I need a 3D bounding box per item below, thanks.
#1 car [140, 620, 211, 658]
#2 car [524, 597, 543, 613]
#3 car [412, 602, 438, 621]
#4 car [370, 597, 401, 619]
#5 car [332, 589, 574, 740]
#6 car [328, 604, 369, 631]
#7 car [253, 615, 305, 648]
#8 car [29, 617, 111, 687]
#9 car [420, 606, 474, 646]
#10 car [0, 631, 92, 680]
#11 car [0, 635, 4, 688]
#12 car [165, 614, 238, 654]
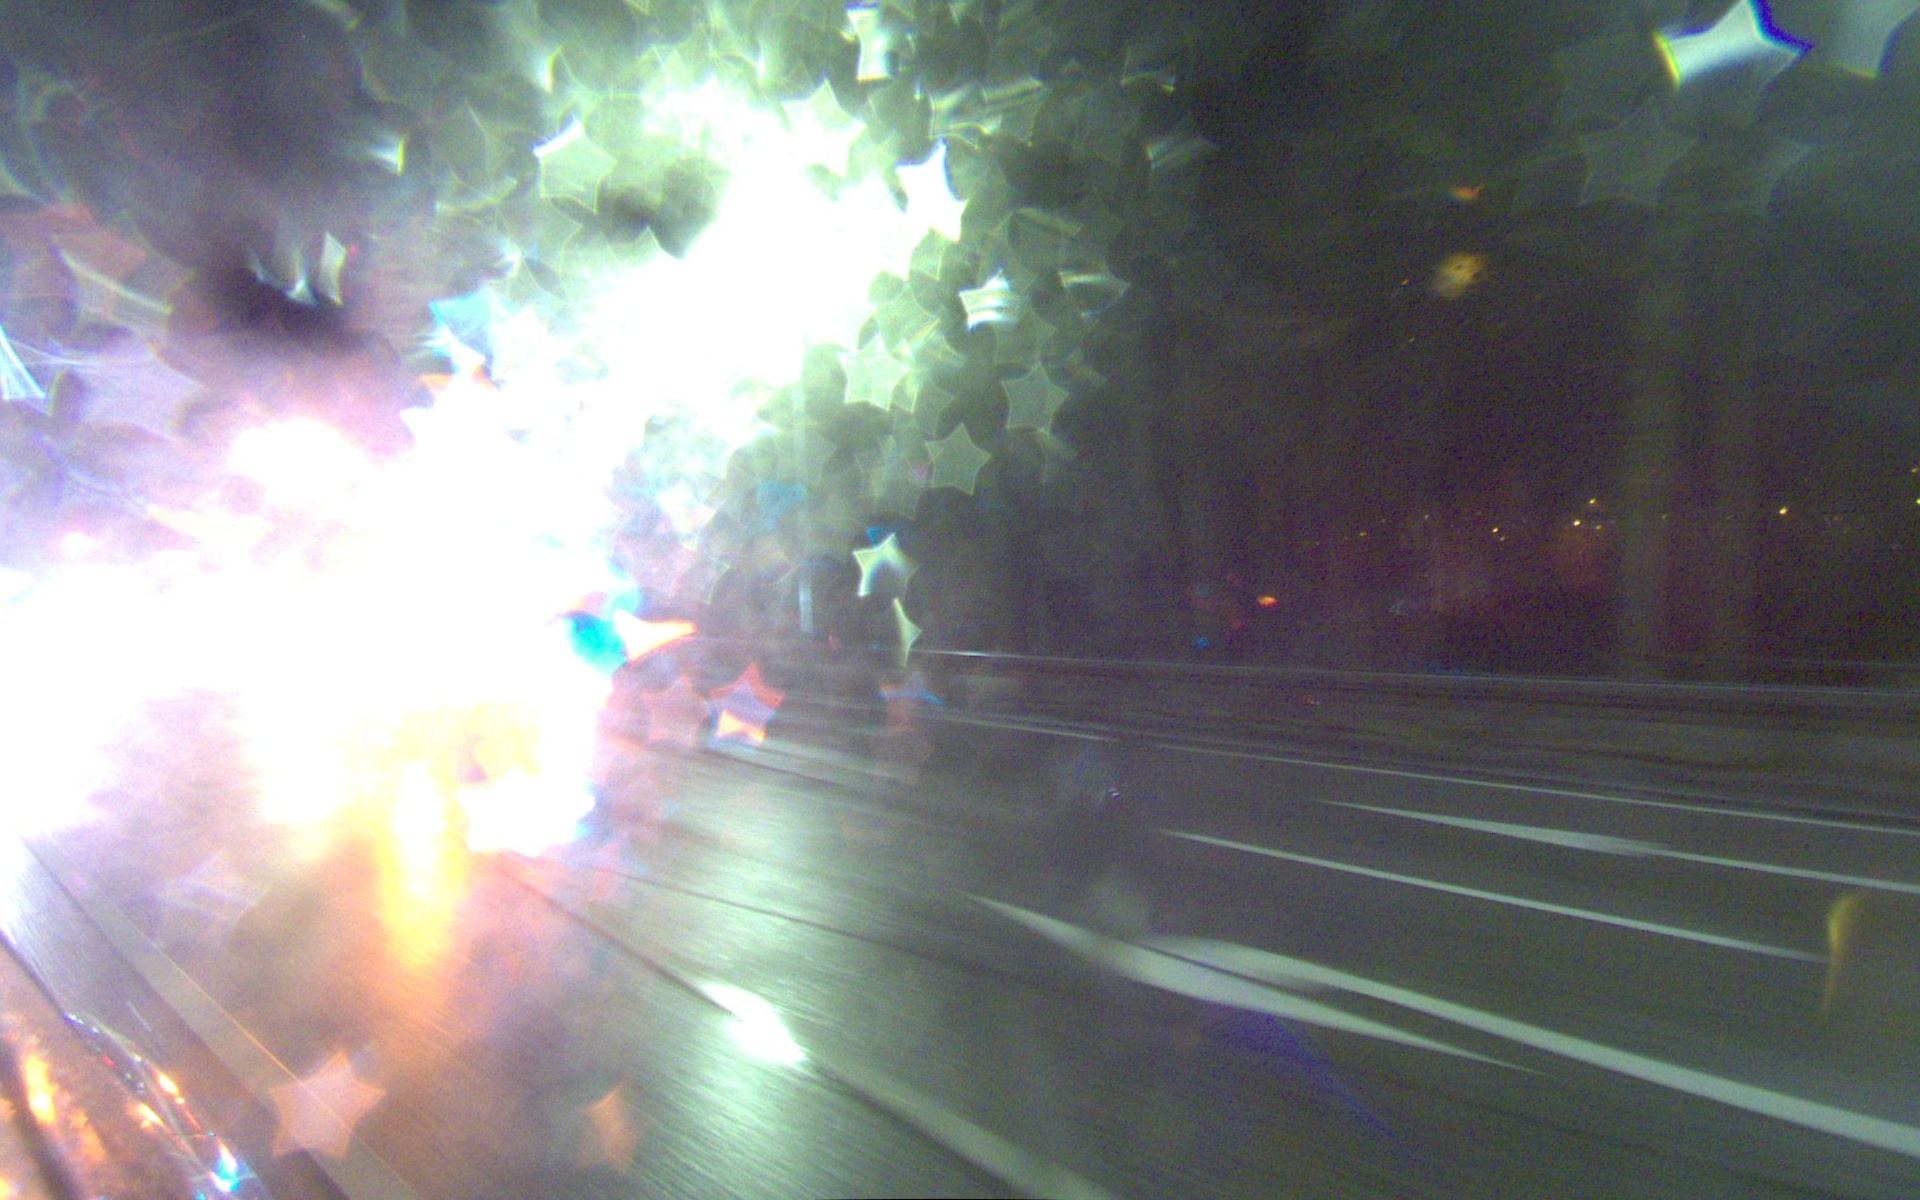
[{"bbox_3d":[-46.861,2.289,60.532,1.966,2.029,4.012,-2,0,-16],"label":"car"},{"bbox_3d":[-51.012,0.599,121.037,1.714,1.870,4.012,-2,0,-19],"label":"car"},{"bbox_3d":[-59.865,1.327,113.253,1.838,2.029,4.012,-2,0,-18],"label":"car"},{"bbox_3d":[-57.202,0.816,100.852,1.838,2.029,4.012,-2,0,-18],"label":"car"},{"bbox_3d":[-7.152,0.762,13.997,1.974,1.687,4.625,-2,0,-39],"label":"car"},{"bbox_3d":[-47.972,1.347,79.427,1.838,2.029,4.012,-2,0,-18],"label":"car"},{"bbox_3d":[-45.090,2.025,67.090,1.838,2.029,4.012,-2,0,-18],"label":"car"},{"bbox_3d":[-33.995,1.906,38.770,1.969,2.027,4.008,-8,8,-38],"label":"car"},{"bbox_3d":[-22.796,1.148,44.900,1.958,1.617,4.848,0,-1,-29],"label":"car"},{"bbox_3d":[-42.652,2.541,47.336,1.805,2.029,4.013,-2,0,-21],"label":"car"},{"bbox_3d":[-37.075,2.359,36.979,1.838,2.029,4.013,-2,0,-24],"label":"car"},{"bbox_3d":[-40.785,1.789,54.504,1.966,2.029,4.013,-2,0,-19],"label":"car"}]
